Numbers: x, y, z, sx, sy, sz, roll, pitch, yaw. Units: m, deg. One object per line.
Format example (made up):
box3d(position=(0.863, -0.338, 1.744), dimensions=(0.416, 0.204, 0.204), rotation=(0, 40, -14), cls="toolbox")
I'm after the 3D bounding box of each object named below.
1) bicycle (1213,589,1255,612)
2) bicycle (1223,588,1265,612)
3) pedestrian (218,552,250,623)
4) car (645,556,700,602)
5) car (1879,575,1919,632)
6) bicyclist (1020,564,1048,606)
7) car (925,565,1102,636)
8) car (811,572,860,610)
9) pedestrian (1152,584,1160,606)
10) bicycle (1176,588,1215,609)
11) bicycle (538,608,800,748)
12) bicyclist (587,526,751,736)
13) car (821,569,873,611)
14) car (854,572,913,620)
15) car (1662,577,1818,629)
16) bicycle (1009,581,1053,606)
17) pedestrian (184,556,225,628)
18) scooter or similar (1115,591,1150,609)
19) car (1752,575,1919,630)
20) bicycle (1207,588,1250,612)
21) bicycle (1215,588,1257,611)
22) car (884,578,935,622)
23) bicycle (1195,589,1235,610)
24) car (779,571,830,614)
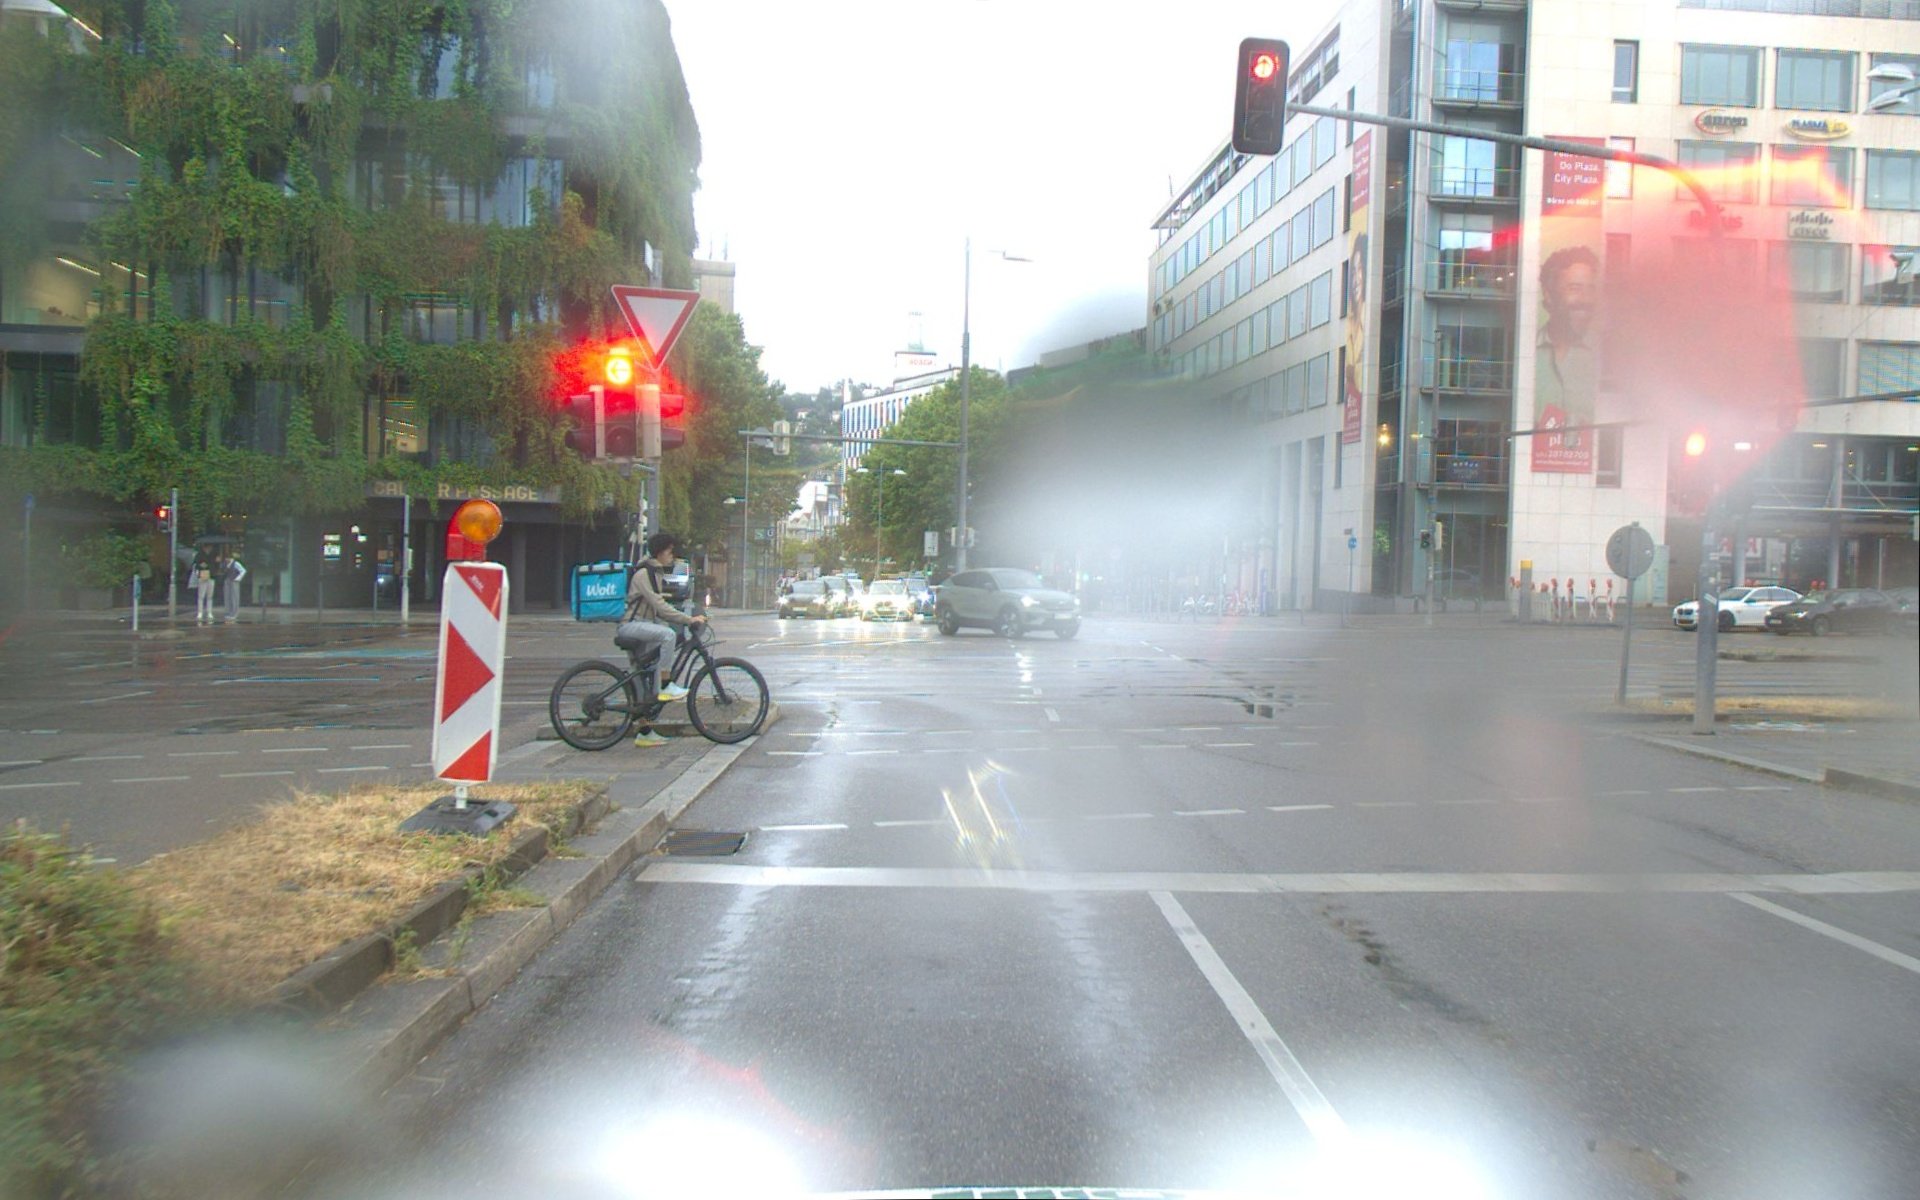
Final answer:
box3d(position=(11.732, 0.011, 70.894), dimensions=(1.767, 0.950, 0.473), rotation=(1, 1, 41), cls="bicycle")
box3d(position=(11.879, -0.014, 69.185), dimensions=(1.767, 0.950, 0.473), rotation=(1, 1, 41), cls="bicycle")
box3d(position=(-18.586, -0.313, 42.341), dimensions=(0.731, 1.788, 0.969), rotation=(0, 1, -24), cls="pedestrian")
box3d(position=(-12.538, -0.938, 72.279), dimensions=(1.955, 1.928, 4.461), rotation=(1, 1, -5), cls="car")
box3d(position=(29.288, 0.109, 48.089), dimensions=(4.377, 1.626, 1.992), rotation=(1, 1, -16), cls="car")
box3d(position=(3.535, -0.722, 79.346), dimensions=(0.787, 2.009, 1.097), rotation=(1, 0, -41), cls="bicyclist")
box3d(position=(1.205, -0.031, 39.327), dimensions=(1.976, 1.577, 4.502), rotation=(0, 1, -34), cls="car")
box3d(position=(-5.174, -0.386, 68.477), dimensions=(1.821, 1.473, 4.614), rotation=(0, 1, -7), cls="car")
box3d(position=(10.982, -0.289, 92.592), dimensions=(0.346, 1.194, 0.414), rotation=(0, 0, -8), cls="pedestrian")
box3d(position=(10.951, -0.050, 77.059), dimensions=(1.757, 0.950, 0.475), rotation=(1, 0, 2), cls="bicycle")
box3d(position=(-2.506, 0.646, 14.222), dimensions=(2.113, 1.122, 0.844), rotation=(0, 1, -19), cls="bicycle")
box3d(position=(-2.512, 0.254, 14.226), dimensions=(1.275, 1.733, 0.844), rotation=(1, 1, -19), cls="bicyclist")
box3d(position=(-5.194, -0.486, 75.509), dimensions=(2.133, 1.855, 4.637), rotation=(1, 1, -7), cls="car")
box3d(position=(-2.631, -0.181, 57.519), dimensions=(1.953, 1.512, 4.463), rotation=(0, 2, -2), cls="car")
box3d(position=(25.359, 0.103, 53.777), dimensions=(4.378, 1.626, 1.992), rotation=(1, 1, -16), cls="car")
box3d(position=(3.399, -0.328, 79.488), dimensions=(0.787, 1.136, 2.222), rotation=(1, 1, -41), cls="bicycle")
box3d(position=(-19.182, -0.213, 42.019), dimensions=(0.923, 1.788, 1.163), rotation=(0, 1, -24), cls="pedestrian")
box3d(position=(8.784, -0.018, 84.081), dimensions=(1.720, 0.894, 0.486), rotation=(0, 0, -20), cls="scooter or similar")
box3d(position=(26.750, 0.069, 50.468), dimensions=(4.373, 1.626, 1.994), rotation=(1, 1, -13), cls="car")
box3d(position=(11.132, -0.015, 68.532), dimensions=(1.767, 0.950, 0.473), rotation=(1, 1, 41), cls="bicycle")
box3d(position=(11.706, -0.022, 70.148), dimensions=(1.767, 0.950, 0.473), rotation=(1, 1, 41), cls="bicycle")
box3d(position=(-2.153, -0.017, 69.761), dimensions=(1.925, 1.684, 4.361), rotation=(0, 2, -5), cls="car")
box3d(position=(11.594, -0.029, 75.220), dimensions=(1.757, 0.950, 0.475), rotation=(1, 0, 2), cls="bicycle")
box3d(position=(-5.807, -0.312, 61.925), dimensions=(1.820, 1.473, 4.616), rotation=(1, 1, -5), cls="car")
